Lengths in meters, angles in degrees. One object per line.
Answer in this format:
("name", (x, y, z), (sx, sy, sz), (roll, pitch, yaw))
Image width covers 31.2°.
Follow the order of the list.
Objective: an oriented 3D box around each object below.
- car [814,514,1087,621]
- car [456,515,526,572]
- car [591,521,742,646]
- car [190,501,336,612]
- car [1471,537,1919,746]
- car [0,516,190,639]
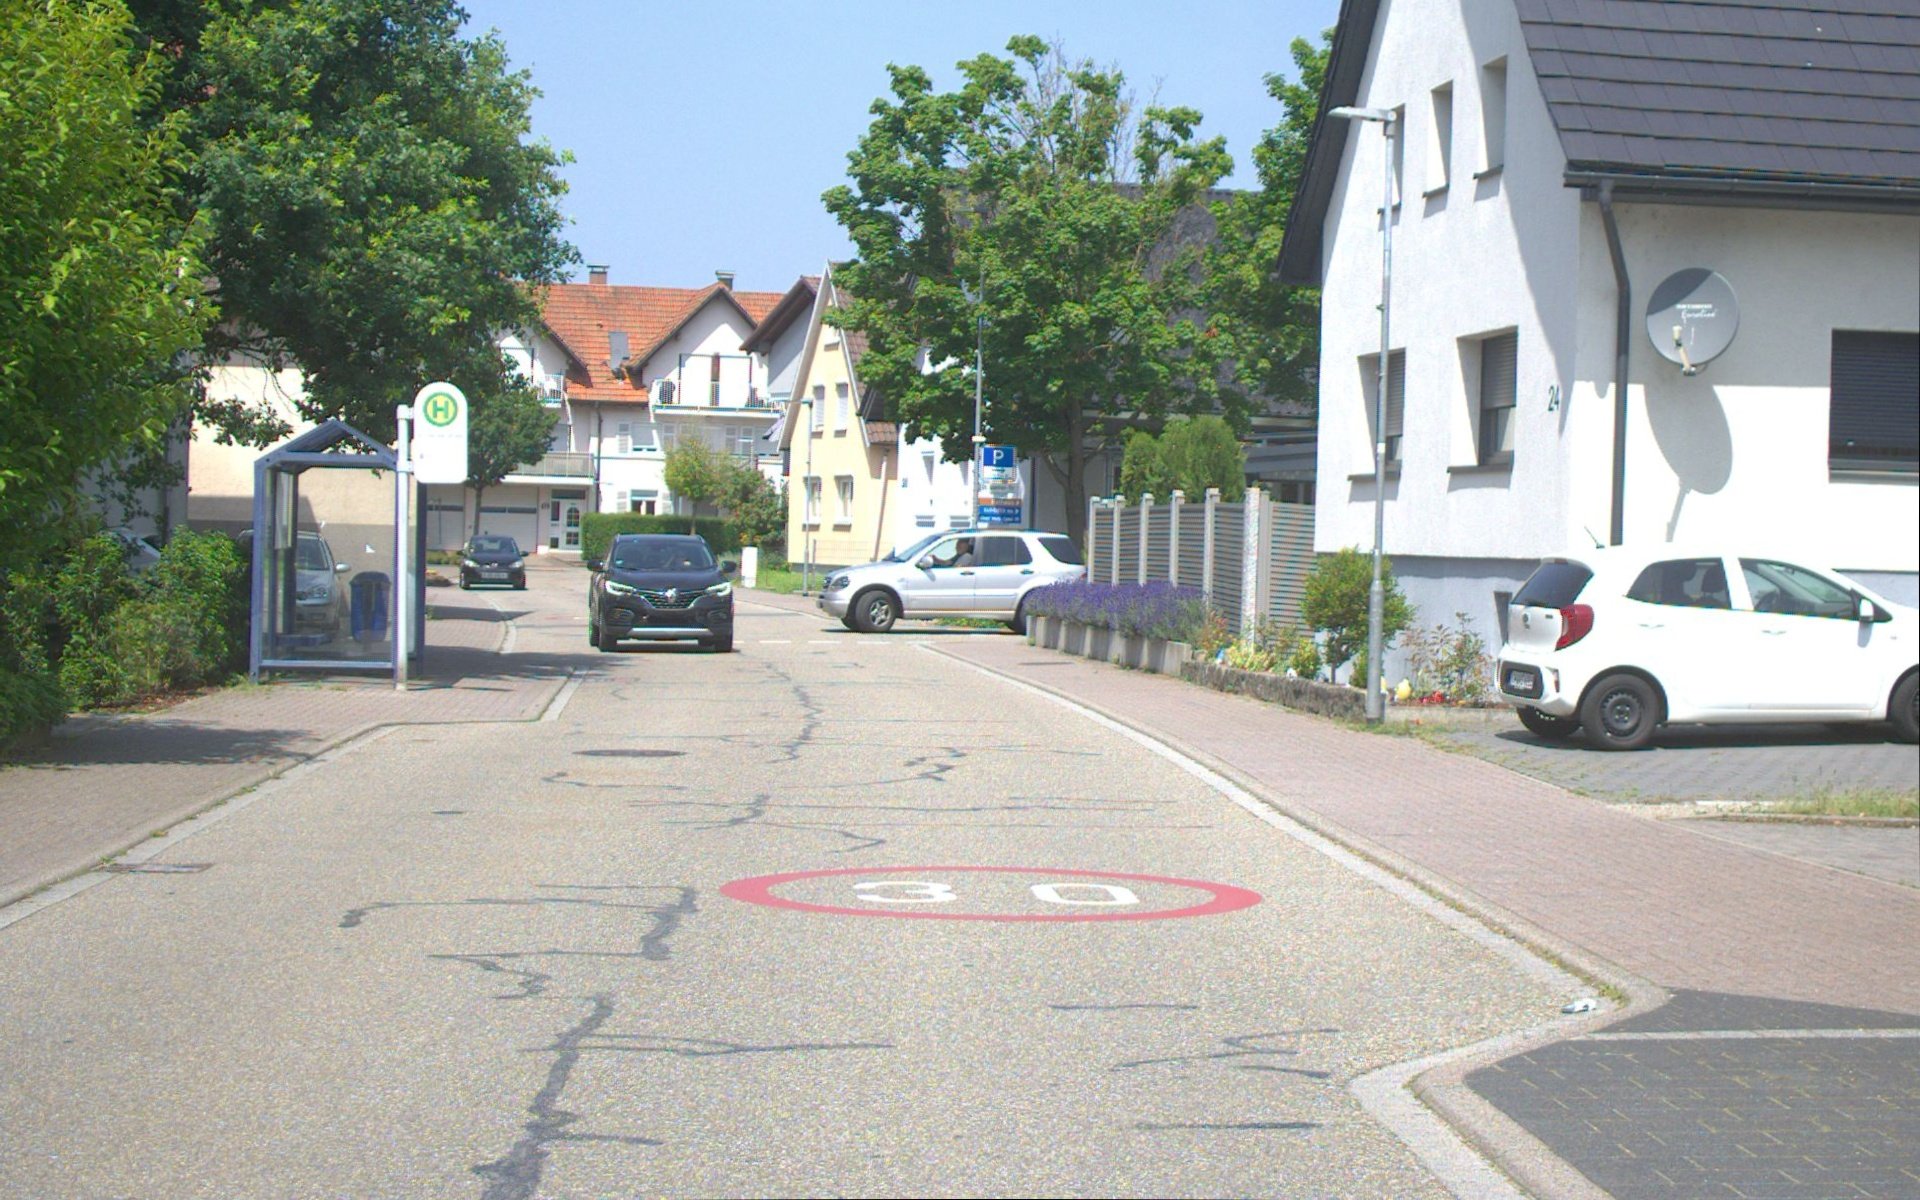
("car", (-0.179, -0.551, 57.810), (4.315, 1.761, 1.892), (0, 1, -11))
("car", (-12.794, -1.549, 93.571), (1.626, 1.481, 4.001), (0, 1, -11))
("car", (-4.102, -0.259, 47.514), (1.775, 1.618, 4.106), (1, 1, -9))
("car", (-9.761, -0.642, 48.376), (1.778, 1.430, 4.057), (2, 1, -9))
("car", (5.883, 0.277, 25.861), (3.656, 1.469, 1.766), (0, 2, -10))
("car", (-12.061, -0.297, 43.966), (4.159, 1.533, 1.774), (0, 2, -7))
